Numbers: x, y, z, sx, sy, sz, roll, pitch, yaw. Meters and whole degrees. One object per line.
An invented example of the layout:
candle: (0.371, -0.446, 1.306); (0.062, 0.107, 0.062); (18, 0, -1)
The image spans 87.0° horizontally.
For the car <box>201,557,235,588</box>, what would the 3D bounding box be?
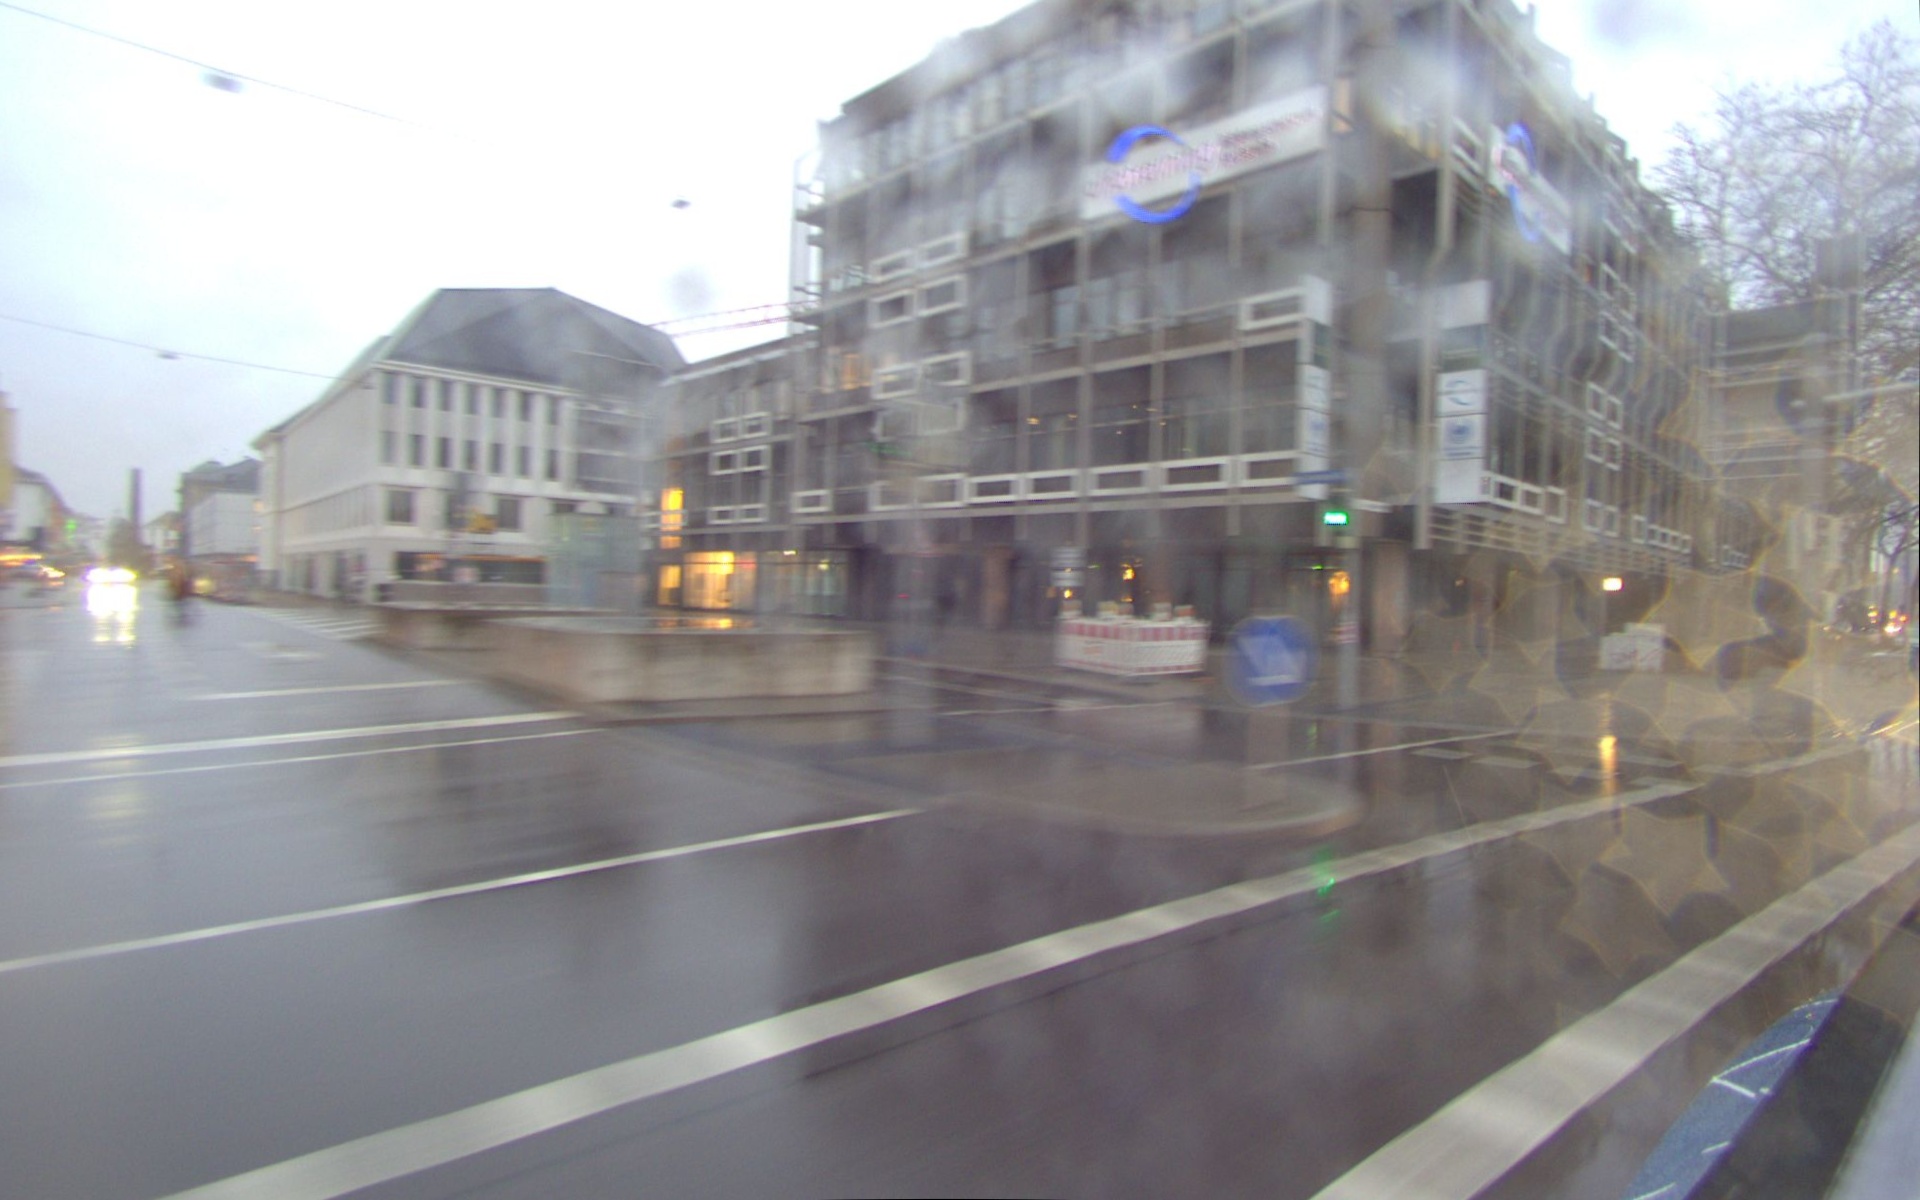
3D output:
car: (-63.384, -2.309, 86.415); (1.935, 2.532, 3.992); (1, -1, -42)

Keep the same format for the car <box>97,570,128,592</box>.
car: (-71.511, -1.626, 85.417); (1.870, 1.706, 3.934); (1, 1, -38)

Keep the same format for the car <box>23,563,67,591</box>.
car: (-60.153, -1.507, 66.587); (1.870, 1.706, 3.934); (1, 1, -38)
